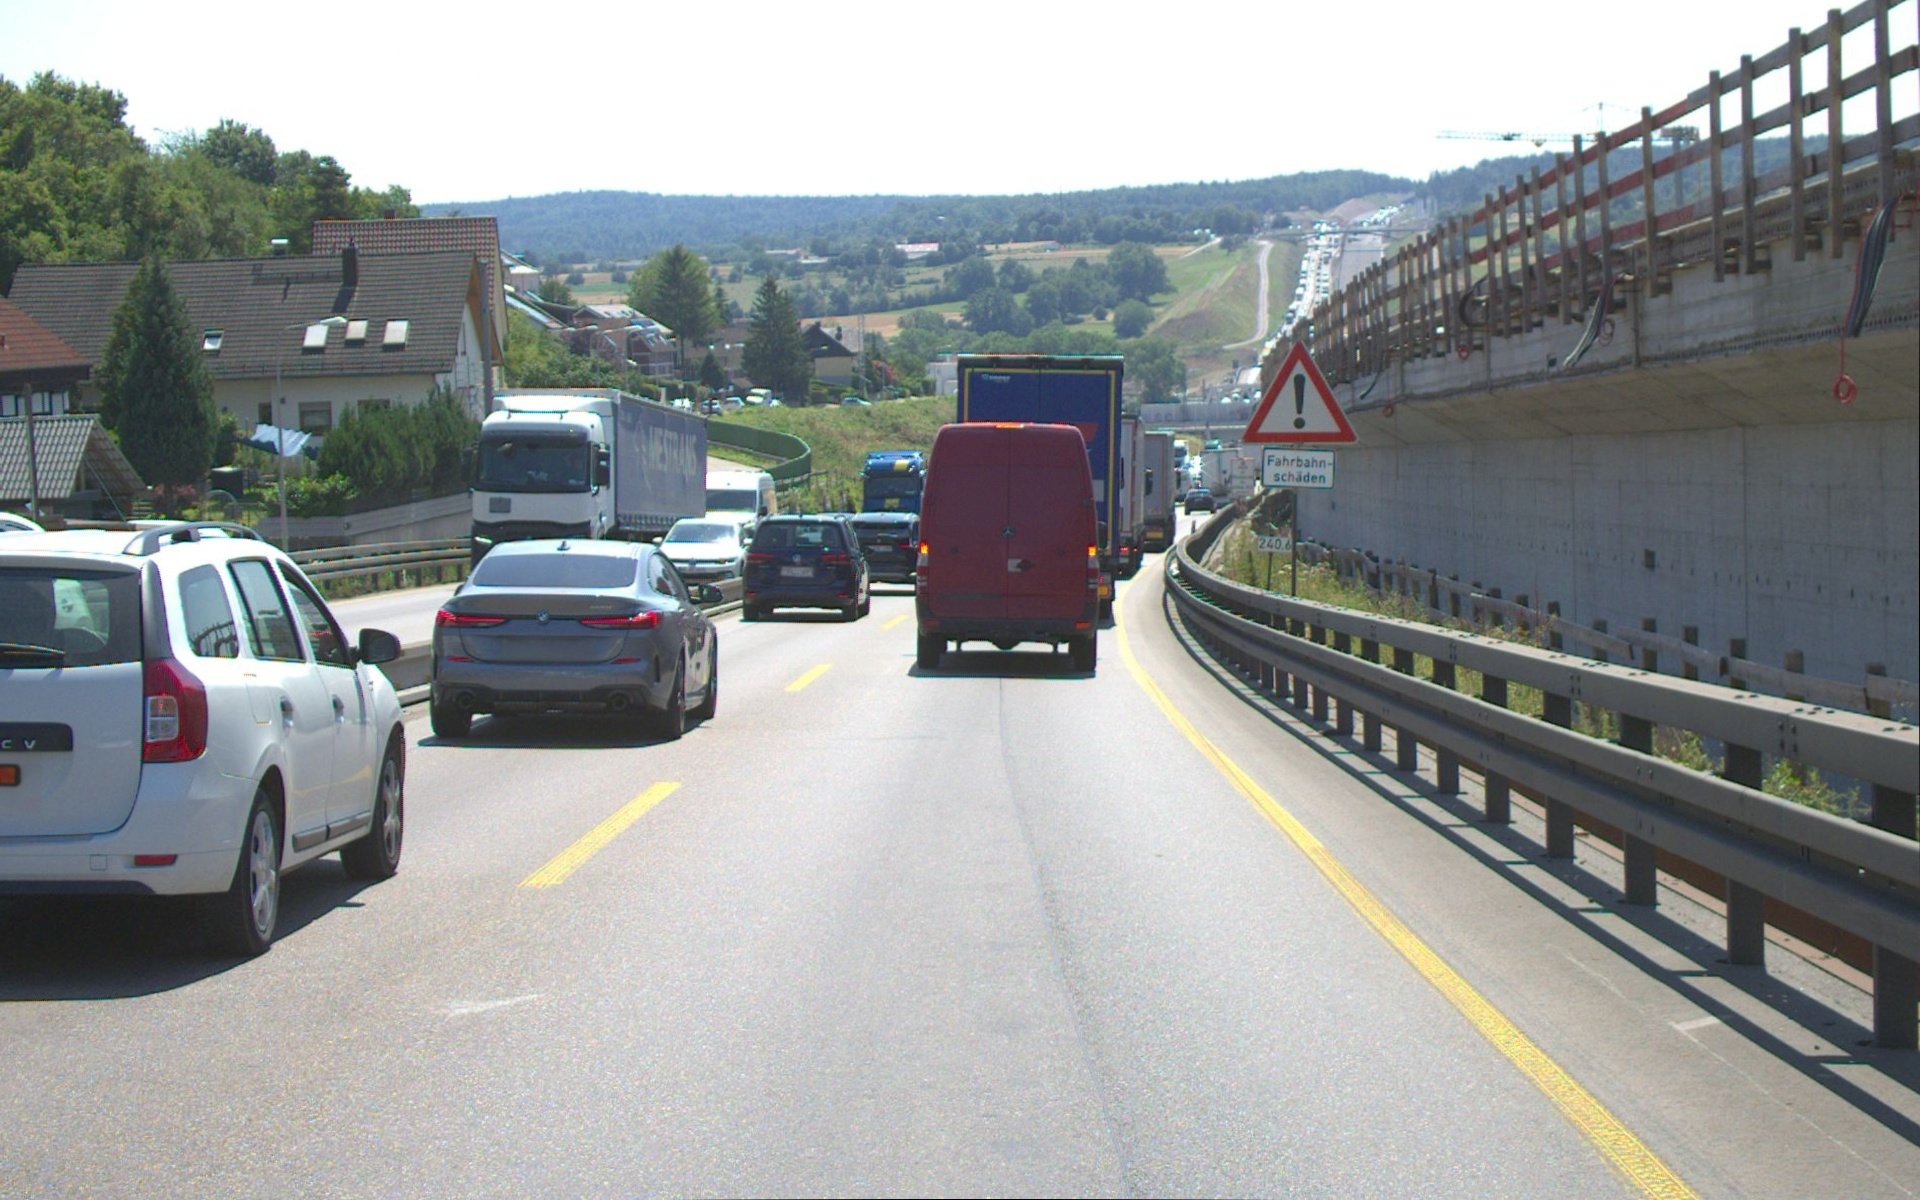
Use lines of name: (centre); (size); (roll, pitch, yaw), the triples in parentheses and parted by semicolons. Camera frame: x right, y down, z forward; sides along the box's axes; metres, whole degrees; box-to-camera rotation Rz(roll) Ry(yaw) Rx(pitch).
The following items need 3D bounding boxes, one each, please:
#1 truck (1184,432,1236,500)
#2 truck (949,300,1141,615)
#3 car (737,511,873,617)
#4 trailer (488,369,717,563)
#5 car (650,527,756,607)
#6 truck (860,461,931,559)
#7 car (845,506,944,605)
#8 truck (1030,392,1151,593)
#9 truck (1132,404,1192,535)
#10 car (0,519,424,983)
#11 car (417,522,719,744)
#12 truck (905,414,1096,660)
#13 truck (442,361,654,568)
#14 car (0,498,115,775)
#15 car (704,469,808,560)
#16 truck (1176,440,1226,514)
truck: (17.307, -9.207, 237.543); (3.468, 4.366, 8.555); (0, 0, 5)
truck: (1.550, -2.191, 57.424); (2.786, 4.799, 9.683); (0, 0, 4)
car: (-2.404, -0.550, 54.177); (1.810, 1.602, 3.719); (0, 0, 3)
trailer: (-7.918, -2.957, 78.002); (3.136, 4.065, 11.818); (0, 1, 4)
car: (-5.127, -0.684, 69.085); (1.671, 1.530, 4.190); (0, 2, 2)
truck: (-2.690, -3.730, 144.079); (2.509, 3.951, 5.174); (0, 0, 4)
car: (-1.227, -0.834, 65.928); (1.729, 1.832, 4.000); (0, 0, 1)
truck: (3.380, -2.572, 86.970); (2.786, 4.799, 9.683); (0, 0, 4)
truck: (6.976, -4.453, 118.473); (1.994, 4.366, 3.999); (0, 0, 5)
car: (-3.261, 0.485, 13.250); (1.651, 1.478, 4.266); (-2, 1, 0)
car: (-2.839, 0.193, 25.682); (1.794, 1.480, 4.050); (2, 1, 0)
truck: (0.457, -0.669, 38.037); (1.993, 2.570, 4.000); (0, 0, 1)
truck: (-8.427, -2.761, 71.203); (3.136, 4.065, 6.879); (0, 1, 4)
car: (-6.689, 0.217, 21.459); (1.750, 1.681, 4.387); (0, 0, 0)
car: (-5.970, -2.529, 101.305); (2.006, 2.594, 5.978); (0, 2, 7)
truck: (15.141, -7.669, 215.362); (3.069, 4.366, 8.555); (0, 0, 5)
